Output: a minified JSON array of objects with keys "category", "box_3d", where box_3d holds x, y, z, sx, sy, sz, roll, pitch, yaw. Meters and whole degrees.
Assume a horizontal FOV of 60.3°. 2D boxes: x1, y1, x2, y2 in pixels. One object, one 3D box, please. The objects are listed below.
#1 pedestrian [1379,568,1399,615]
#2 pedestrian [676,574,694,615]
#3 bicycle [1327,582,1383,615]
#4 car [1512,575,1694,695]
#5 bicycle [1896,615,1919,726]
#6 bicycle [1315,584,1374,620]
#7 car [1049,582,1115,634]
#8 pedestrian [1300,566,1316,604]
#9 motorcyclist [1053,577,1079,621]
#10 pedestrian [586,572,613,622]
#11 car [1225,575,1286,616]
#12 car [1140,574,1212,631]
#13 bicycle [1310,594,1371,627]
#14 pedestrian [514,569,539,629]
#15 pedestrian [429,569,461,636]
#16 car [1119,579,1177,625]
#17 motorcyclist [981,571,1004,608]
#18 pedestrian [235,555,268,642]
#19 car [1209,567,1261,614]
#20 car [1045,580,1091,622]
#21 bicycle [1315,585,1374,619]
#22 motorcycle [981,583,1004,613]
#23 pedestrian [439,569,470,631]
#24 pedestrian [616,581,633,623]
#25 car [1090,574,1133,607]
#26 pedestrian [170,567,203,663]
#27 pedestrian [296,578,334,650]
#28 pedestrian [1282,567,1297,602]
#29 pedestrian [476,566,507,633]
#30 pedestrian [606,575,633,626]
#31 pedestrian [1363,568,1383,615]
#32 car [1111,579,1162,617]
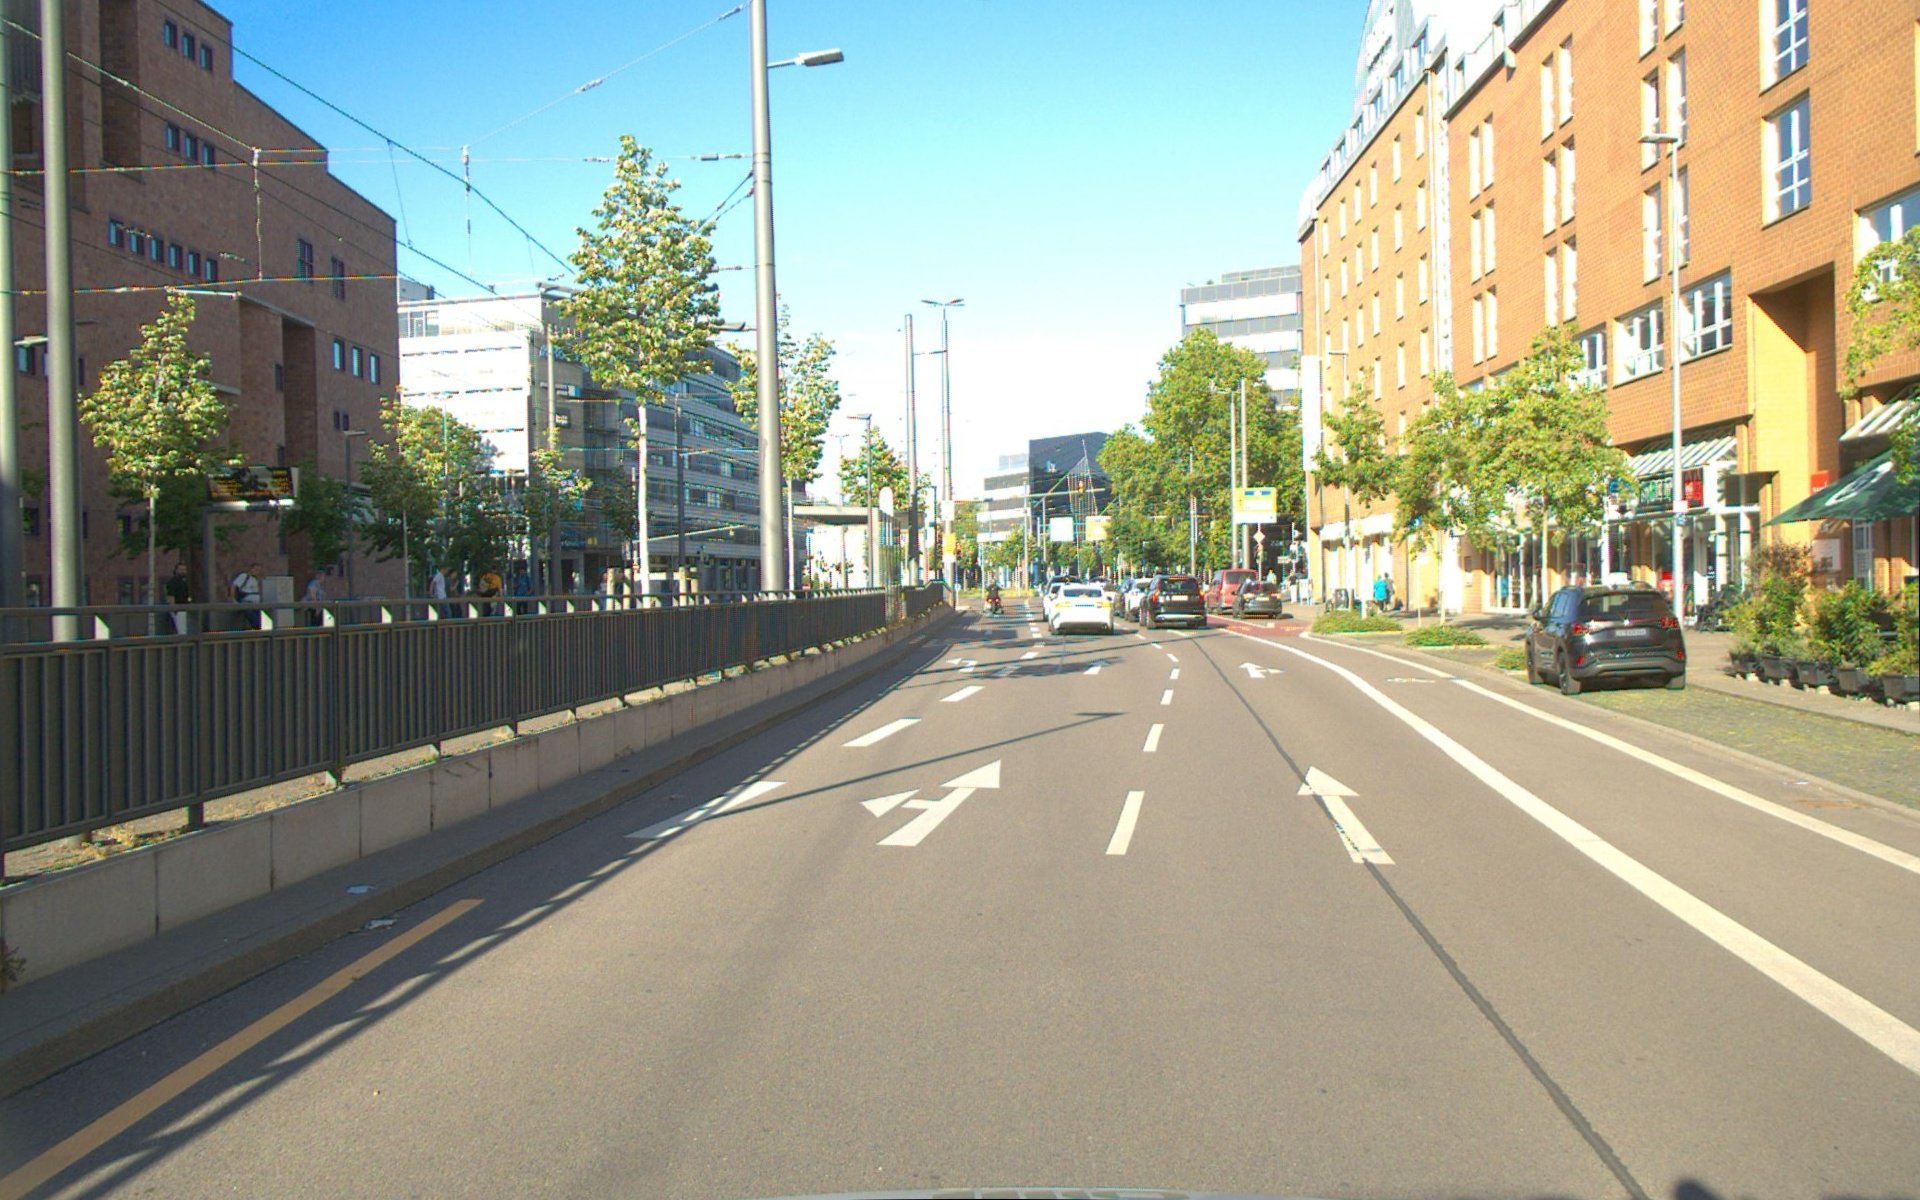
[{"category":"pedestrian","box_3d":[17.303,-0.354,66.713,0.594,1.853,0.748,-1,0,1]},{"category":"pedestrian","box_3d":[-12.402,-0.269,74.615,0.601,1.849,0.897,0,1,2]},{"category":"bicycle","box_3d":[14.167,-0.048,59.377,1.903,1.093,0.626,-2,0,14]},{"category":"car","box_3d":[9.928,0.480,25.868,1.684,1.665,4.235,-2,0,8]},{"category":"bicycle","box_3d":[10.025,0.675,15.926,0.750,1.099,1.997,-6,0,-1]},{"category":"bicycle","box_3d":[13.250,0.071,57.023,1.903,1.157,0.491,-2,0,13]},{"category":"car","box_3d":[3.616,0.202,49.646,1.743,1.439,4.820,1,1,2]},{"category":"pedestrian","box_3d":[17.189,-0.737,81.654,0.594,1.853,0.748,-1,0,1]},{"category":"motorcyclist","box_3d":[3.718,-0.044,58.288,0.820,1.501,1.236,-1,1,1]},{"category":"pedestrian","box_3d":[-12.035,-0.112,55.234,0.627,1.636,0.946,1,1,2]},{"category":"car","box_3d":[11.965,-0.216,67.216,1.808,1.588,4.634,1,1,2]},{"category":"car","box_3d":[7.154,0.055,55.129,1.934,1.790,4.634,1,1,2]},{"category":"bicycle","box_3d":[12.723,0.344,55.294,1.904,1.040,0.502,-2,0,19]},{"category":"pedestrian","box_3d":[-12.914,-0.034,49.307,0.569,1.768,0.616,0,1,2]},{"category":"pedestrian","box_3d":[-13.411,0.059,43.086,0.609,1.744,0.616,0,1,2]},{"category":"car","box_3d":[7.096,0.061,62.778,1.812,1.668,4.380,0,0,2]},{"category":"motorcyclist","box_3d":[1.494,-0.478,75.350,0.998,1.631,1.149,1,1,2]},{"category":"pedestrian","box_3d":[-13.667,-0.028,31.892,0.370,1.649,0.553,1,1,2]},{"category":"car","box_3d":[12.217,-0.432,73.557,1.821,1.995,4.002,-1,1,3]},{"category":"car","box_3d":[4.118,0.015,63.703,1.657,1.523,4.410,1,1,2]},{"category":"bicycle","box_3d":[13.128,0.067,56.506,1.903,1.094,0.555,-2,0,13]},{"category":"motorcycle","box_3d":[1.494,-0.103,75.301,0.998,1.335,2.915,1,1,2]},{"category":"pedestrian","box_3d":[-13.372,-0.008,43.789,0.609,1.640,0.616,0,1,2]},{"category":"pedestrian","box_3d":[-13.266,0.089,65.404,0.551,1.637,0.616,0,1,2]},{"category":"car","box_3d":[7.265,-0.504,79.834,1.812,1.524,4.380,0,1,2]},{"category":"pedestrian","box_3d":[-13.668,0.265,29.239,0.370,1.677,0.416,1,1,2]},{"category":"pedestrian","box_3d":[-13.538,0.283,34.715,0.528,1.485,0.642,1,1,2]},{"category":"pedestrian","box_3d":[17.353,-0.810,87.174,0.594,1.853,0.748,-1,0,1]},{"category":"pedestrian","box_3d":[-12.159,-0.025,42.916,0.627,1.725,0.541,1,1,2]},{"category":"pedestrian","box_3d":[-11.367,0.016,55.231,0.627,1.672,0.946,1,1,2]},{"category":"pedestrian","box_3d":[16.491,-0.339,66.119,0.594,1.853,0.748,-1,0,1]},{"category":"car","box_3d":[7.395,-0.121,69.788,1.812,1.524,4.380,0,1,2]}]
